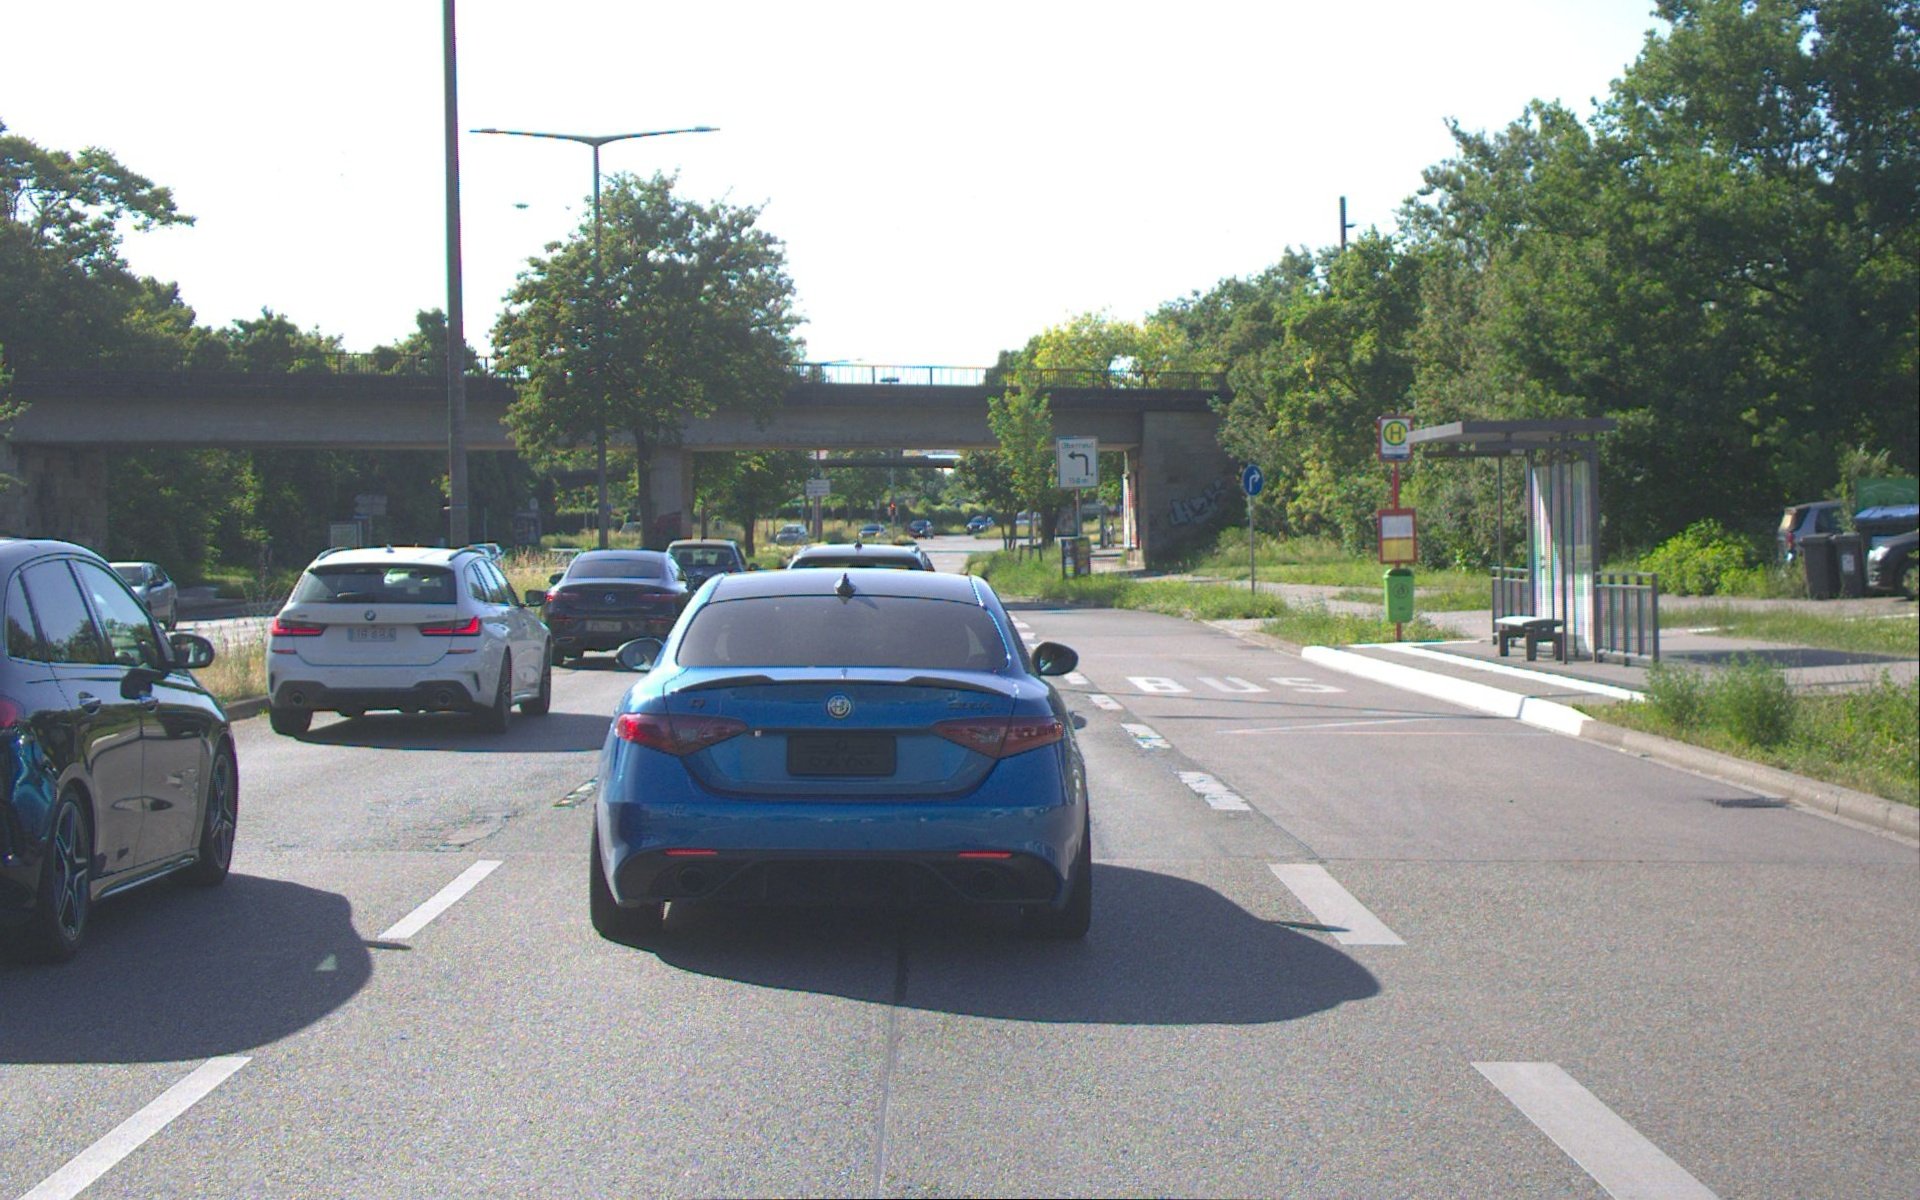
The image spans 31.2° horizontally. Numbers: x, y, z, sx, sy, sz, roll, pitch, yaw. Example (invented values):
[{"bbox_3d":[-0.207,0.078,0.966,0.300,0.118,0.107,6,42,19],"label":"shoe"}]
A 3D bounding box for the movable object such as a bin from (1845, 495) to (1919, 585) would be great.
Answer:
[{"bbox_3d":[15.036,-0.971,55.193,0.986,1.423,1.260,-2,2,-43],"label":"movable object such as a bin"}]

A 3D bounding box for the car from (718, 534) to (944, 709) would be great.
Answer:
[{"bbox_3d":[-1.111,0.147,31.118,1.883,1.449,4.526,1,1,-1],"label":"car"}]

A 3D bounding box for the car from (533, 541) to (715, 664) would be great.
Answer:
[{"bbox_3d":[-4.164,-0.004,43.178,1.883,1.449,4.526,1,1,-1],"label":"car"}]

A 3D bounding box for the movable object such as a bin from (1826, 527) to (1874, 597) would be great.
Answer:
[{"bbox_3d":[14.450,-0.623,55.837,0.580,1.117,0.510,-1,1,-42],"label":"movable object such as a bin"}]

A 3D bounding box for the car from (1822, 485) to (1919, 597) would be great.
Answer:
[{"bbox_3d":[15.684,-0.998,52.400,4.553,1.634,1.799,-3,1,29],"label":"car"}]

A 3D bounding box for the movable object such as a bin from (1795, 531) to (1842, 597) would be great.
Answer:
[{"bbox_3d":[14.033,-0.595,56.196,0.580,1.071,0.510,-1,2,-42],"label":"movable object such as a bin"}]

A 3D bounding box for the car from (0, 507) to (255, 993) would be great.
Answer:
[{"bbox_3d":[-4.006,0.453,13.347,1.708,1.592,4.224,1,1,-1],"label":"car"}]

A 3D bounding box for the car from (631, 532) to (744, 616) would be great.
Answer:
[{"bbox_3d":[-5.013,-0.504,63.748,1.779,1.449,4.182,-1,1,-1],"label":"car"}]

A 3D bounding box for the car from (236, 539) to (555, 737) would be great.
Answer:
[{"bbox_3d":[-4.466,0.249,27.835,1.883,1.449,4.526,1,1,-1],"label":"car"}]

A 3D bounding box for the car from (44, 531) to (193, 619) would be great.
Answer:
[{"bbox_3d":[-17.129,-0.526,70.156,1.993,1.678,4.177,-2,1,-1],"label":"car"}]

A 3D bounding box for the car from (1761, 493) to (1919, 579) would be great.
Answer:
[{"bbox_3d":[16.054,-1.124,60.938,3.284,1.481,1.772,1,1,1],"label":"car"}]

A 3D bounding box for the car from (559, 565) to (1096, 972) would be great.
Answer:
[{"bbox_3d":[-0.493,0.574,14.239,1.883,1.401,4.224,1,1,-1],"label":"car"}]
